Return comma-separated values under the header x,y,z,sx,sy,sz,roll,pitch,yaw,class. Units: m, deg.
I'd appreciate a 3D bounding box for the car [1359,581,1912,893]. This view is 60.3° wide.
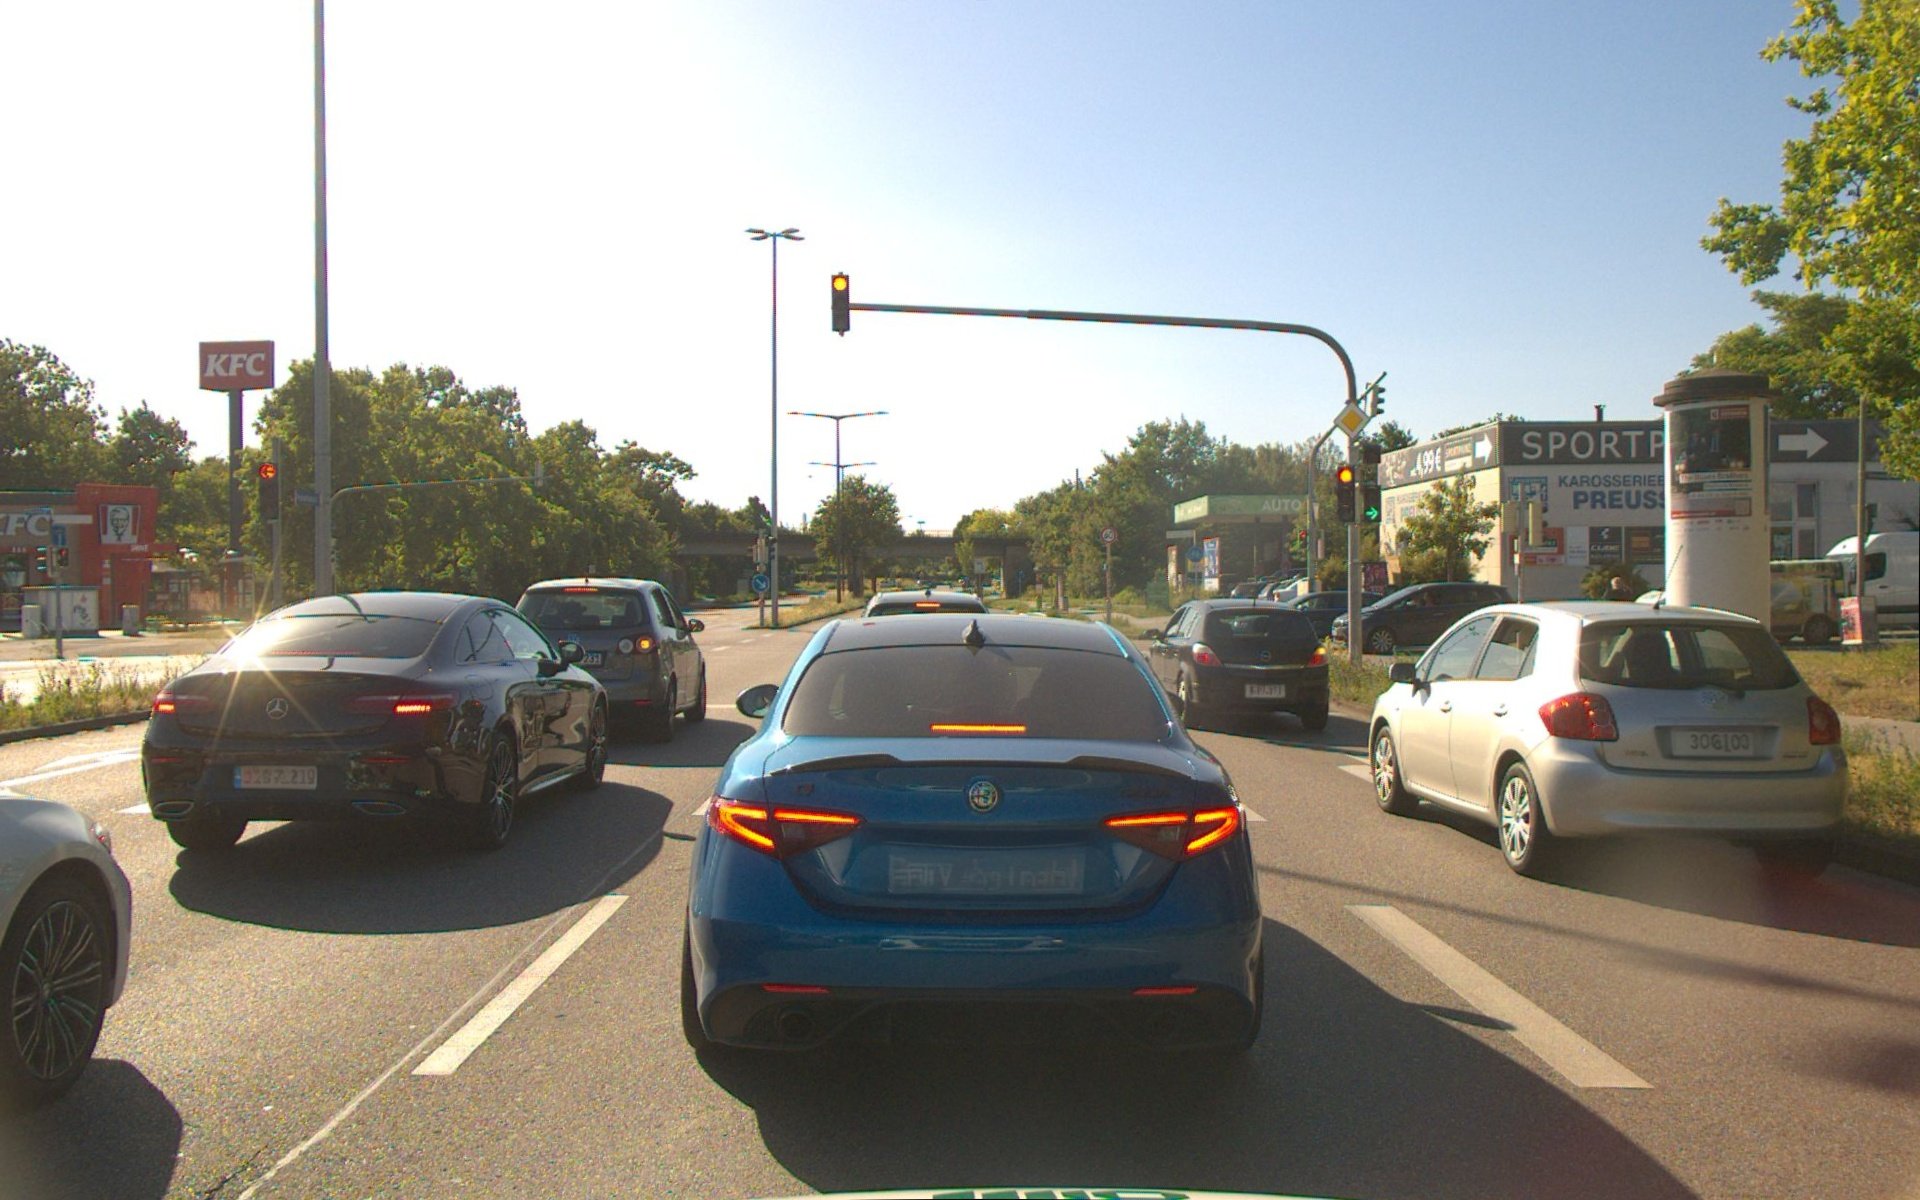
x,y,z,sx,sy,sz,roll,pitch,yaw,class
3.934,0.681,10.466,1.747,1.564,4.107,1,0,-1,car

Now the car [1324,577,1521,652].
x,y,z,sx,sy,sz,roll,pitch,yaw,class
10.971,0.348,39.373,4.219,1.678,1.637,1,0,-2,car

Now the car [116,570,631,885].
x,y,z,sx,sy,sz,roll,pitch,yaw,class
-3.407,0.633,10.624,1.775,1.578,4.542,1,0,-1,car

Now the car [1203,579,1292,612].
x,y,z,sx,sy,sz,roll,pitch,yaw,class
14.461,-0.232,83.192,3.925,1.579,1.990,1,0,-18,car

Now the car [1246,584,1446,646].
x,y,z,sx,sy,sz,roll,pitch,yaw,class
9.923,0.382,42.687,4.722,1.493,1.758,1,0,-3,car

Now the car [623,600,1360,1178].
x,y,z,sx,sy,sz,roll,pitch,yaw,class
0.110,0.750,6.107,1.870,1.447,3.719,1,0,1,car

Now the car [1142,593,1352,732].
x,y,z,sx,sy,sz,roll,pitch,yaw,class
3.338,0.672,20.054,1.699,1.467,4.370,1,0,-1,car

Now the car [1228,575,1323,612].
x,y,z,sx,sy,sz,roll,pitch,yaw,class
14.247,-0.268,74.912,3.905,1.579,2.000,1,0,0,car

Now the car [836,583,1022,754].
x,y,z,sx,sy,sz,roll,pitch,yaw,class
-0.253,0.634,16.940,1.669,1.523,3.719,1,0,1,car

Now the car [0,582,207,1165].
x,y,z,sx,sy,sz,roll,pitch,yaw,class
-3.370,0.713,3.154,1.775,1.512,4.596,0,0,0,car

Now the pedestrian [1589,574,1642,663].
x,y,z,sx,sy,sz,roll,pitch,yaw,class
12.663,0.359,31.960,0.800,1.698,0.514,1,-1,-1,pedestrian

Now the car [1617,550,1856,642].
x,y,z,sx,sy,sz,roll,pitch,yaw,class
18.537,-0.095,39.609,4.854,2.071,1.880,-1,0,-2,car

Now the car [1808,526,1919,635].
x,y,z,sx,sy,sz,roll,pitch,yaw,class
25.378,-0.544,42.860,5.715,2.719,2.000,-1,0,0,car

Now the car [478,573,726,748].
x,y,z,sx,sy,sz,roll,pitch,yaw,class
-3.592,0.566,17.353,1.776,1.578,4.351,1,0,-2,car
